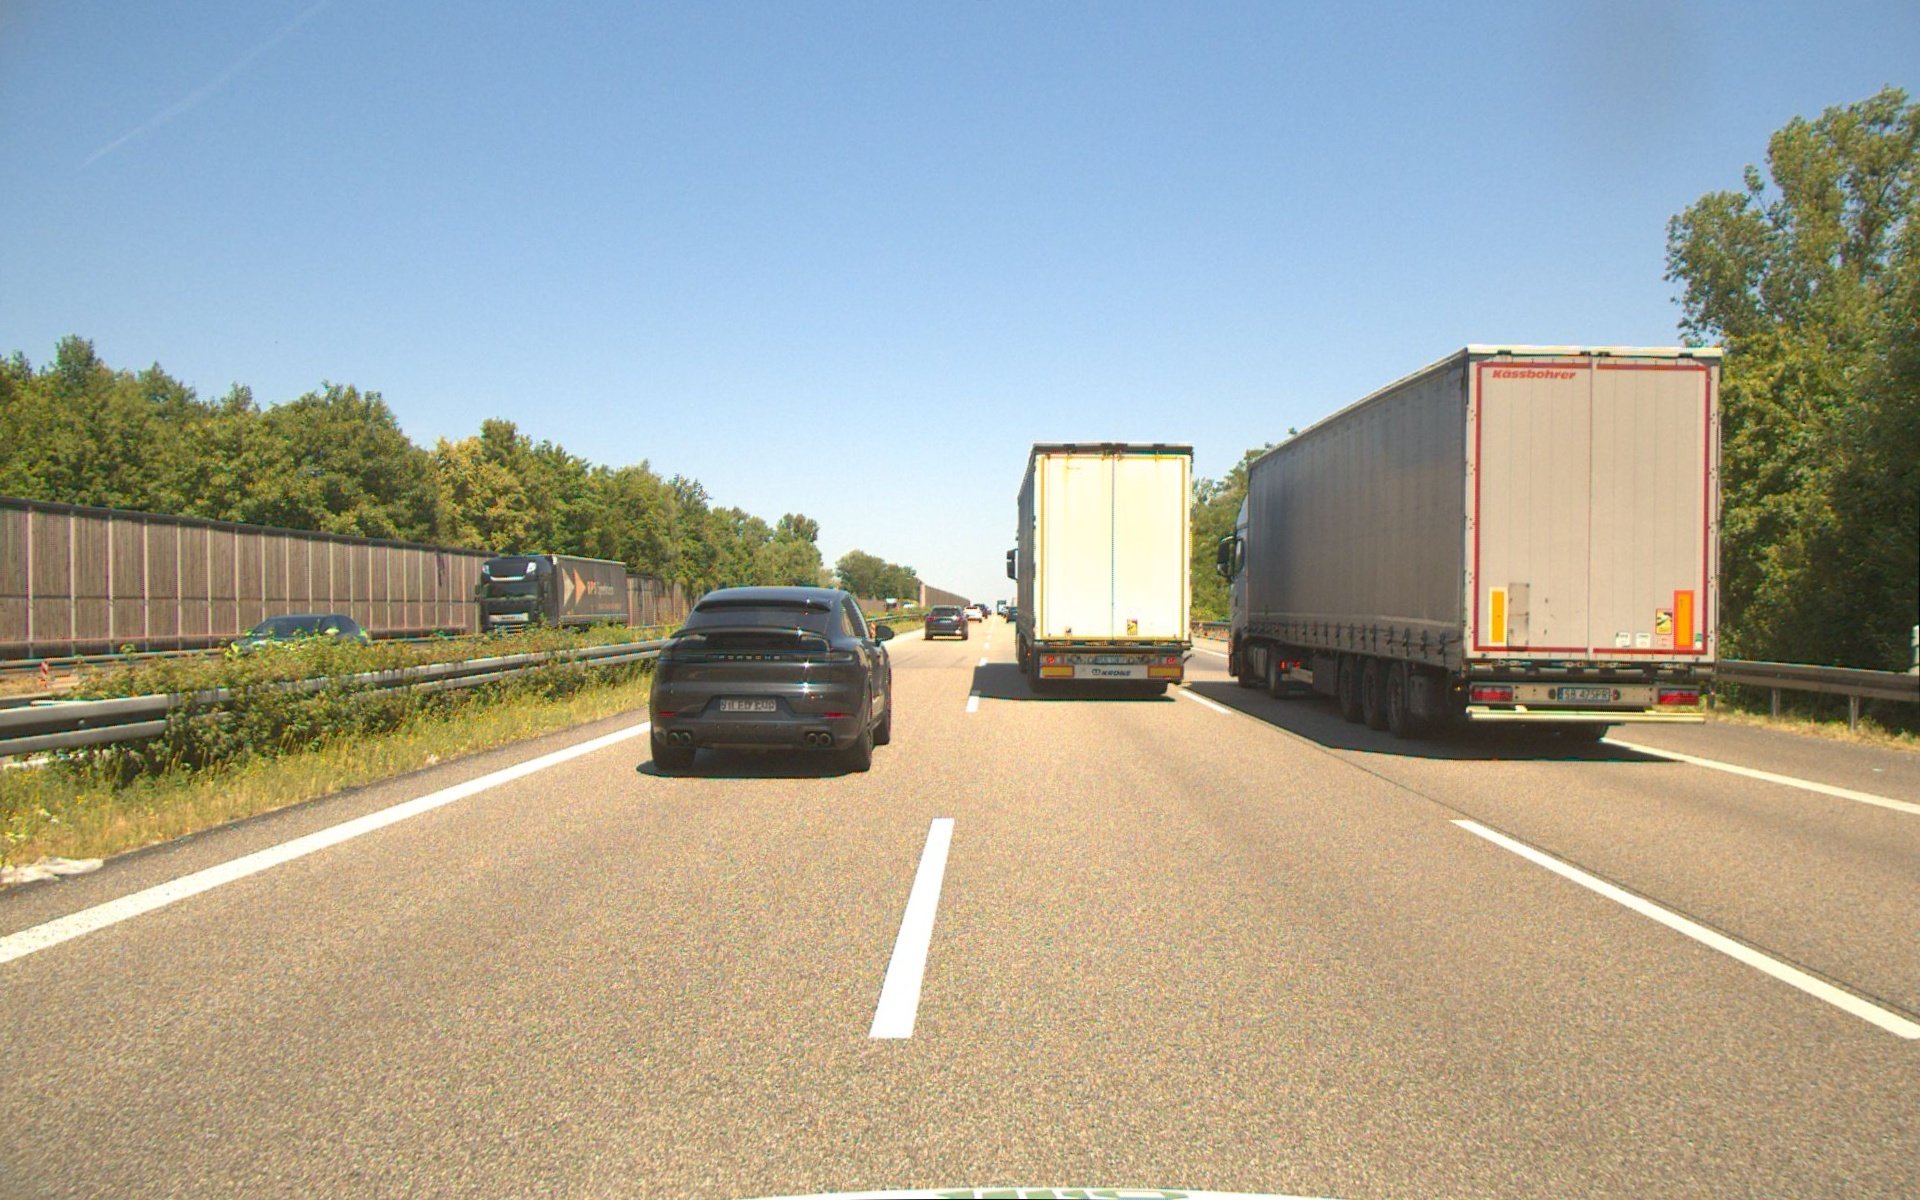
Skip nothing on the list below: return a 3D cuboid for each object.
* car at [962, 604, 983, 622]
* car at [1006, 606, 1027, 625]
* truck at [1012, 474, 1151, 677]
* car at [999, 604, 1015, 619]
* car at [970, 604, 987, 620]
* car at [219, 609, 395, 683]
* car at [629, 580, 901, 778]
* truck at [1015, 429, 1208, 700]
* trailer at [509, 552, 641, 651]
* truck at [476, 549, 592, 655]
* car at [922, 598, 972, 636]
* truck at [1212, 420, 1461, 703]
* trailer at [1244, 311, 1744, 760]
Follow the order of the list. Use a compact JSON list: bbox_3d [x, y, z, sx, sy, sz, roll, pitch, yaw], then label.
[{"bbox_3d":[1.159,1.152,151.276,1.817,1.512,4.001,-2,0,2],"label":"car"},{"bbox_3d":[5.034,1.393,147.626,1.817,1.645,4.001,-2,0,2],"label":"car"},{"bbox_3d":[2.648,-0.501,38.078,2.671,4.157,7.277,-1,0,1],"label":"truck"},{"bbox_3d":[5.718,1.403,203.289,1.817,1.645,4.000,-2,0,0],"label":"car"},{"bbox_3d":[2.145,1.369,190.106,1.817,1.645,3.999,-2,0,-1],"label":"car"},{"bbox_3d":[-14.264,0.956,36.455,1.919,1.458,4.880,-1,0,0],"label":"car"},{"bbox_3d":[-1.743,0.657,16.765,2.001,1.653,5.772,0,0,1],"label":"car"},{"bbox_3d":[2.568,-0.526,32.430,2.651,4.157,13.474,-1,0,1],"label":"truck"},{"bbox_3d":[-17.729,0.091,77.376,2.671,4.157,13.891,-1,0,1],"label":"trailer"},{"bbox_3d":[-17.820,0.088,69.737,2.671,4.157,7.838,-1,0,1],"label":"truck"},{"bbox_3d":[-0.527,0.716,73.521,1.903,1.533,5.822,-2,0,2],"label":"car"},{"bbox_3d":[6.388,-0.580,29.367,2.636,4.289,7.838,-1,0,1],"label":"truck"},{"bbox_3d":[6.290,-0.602,22.600,2.648,4.289,13.212,-1,0,1],"label":"trailer"}]
